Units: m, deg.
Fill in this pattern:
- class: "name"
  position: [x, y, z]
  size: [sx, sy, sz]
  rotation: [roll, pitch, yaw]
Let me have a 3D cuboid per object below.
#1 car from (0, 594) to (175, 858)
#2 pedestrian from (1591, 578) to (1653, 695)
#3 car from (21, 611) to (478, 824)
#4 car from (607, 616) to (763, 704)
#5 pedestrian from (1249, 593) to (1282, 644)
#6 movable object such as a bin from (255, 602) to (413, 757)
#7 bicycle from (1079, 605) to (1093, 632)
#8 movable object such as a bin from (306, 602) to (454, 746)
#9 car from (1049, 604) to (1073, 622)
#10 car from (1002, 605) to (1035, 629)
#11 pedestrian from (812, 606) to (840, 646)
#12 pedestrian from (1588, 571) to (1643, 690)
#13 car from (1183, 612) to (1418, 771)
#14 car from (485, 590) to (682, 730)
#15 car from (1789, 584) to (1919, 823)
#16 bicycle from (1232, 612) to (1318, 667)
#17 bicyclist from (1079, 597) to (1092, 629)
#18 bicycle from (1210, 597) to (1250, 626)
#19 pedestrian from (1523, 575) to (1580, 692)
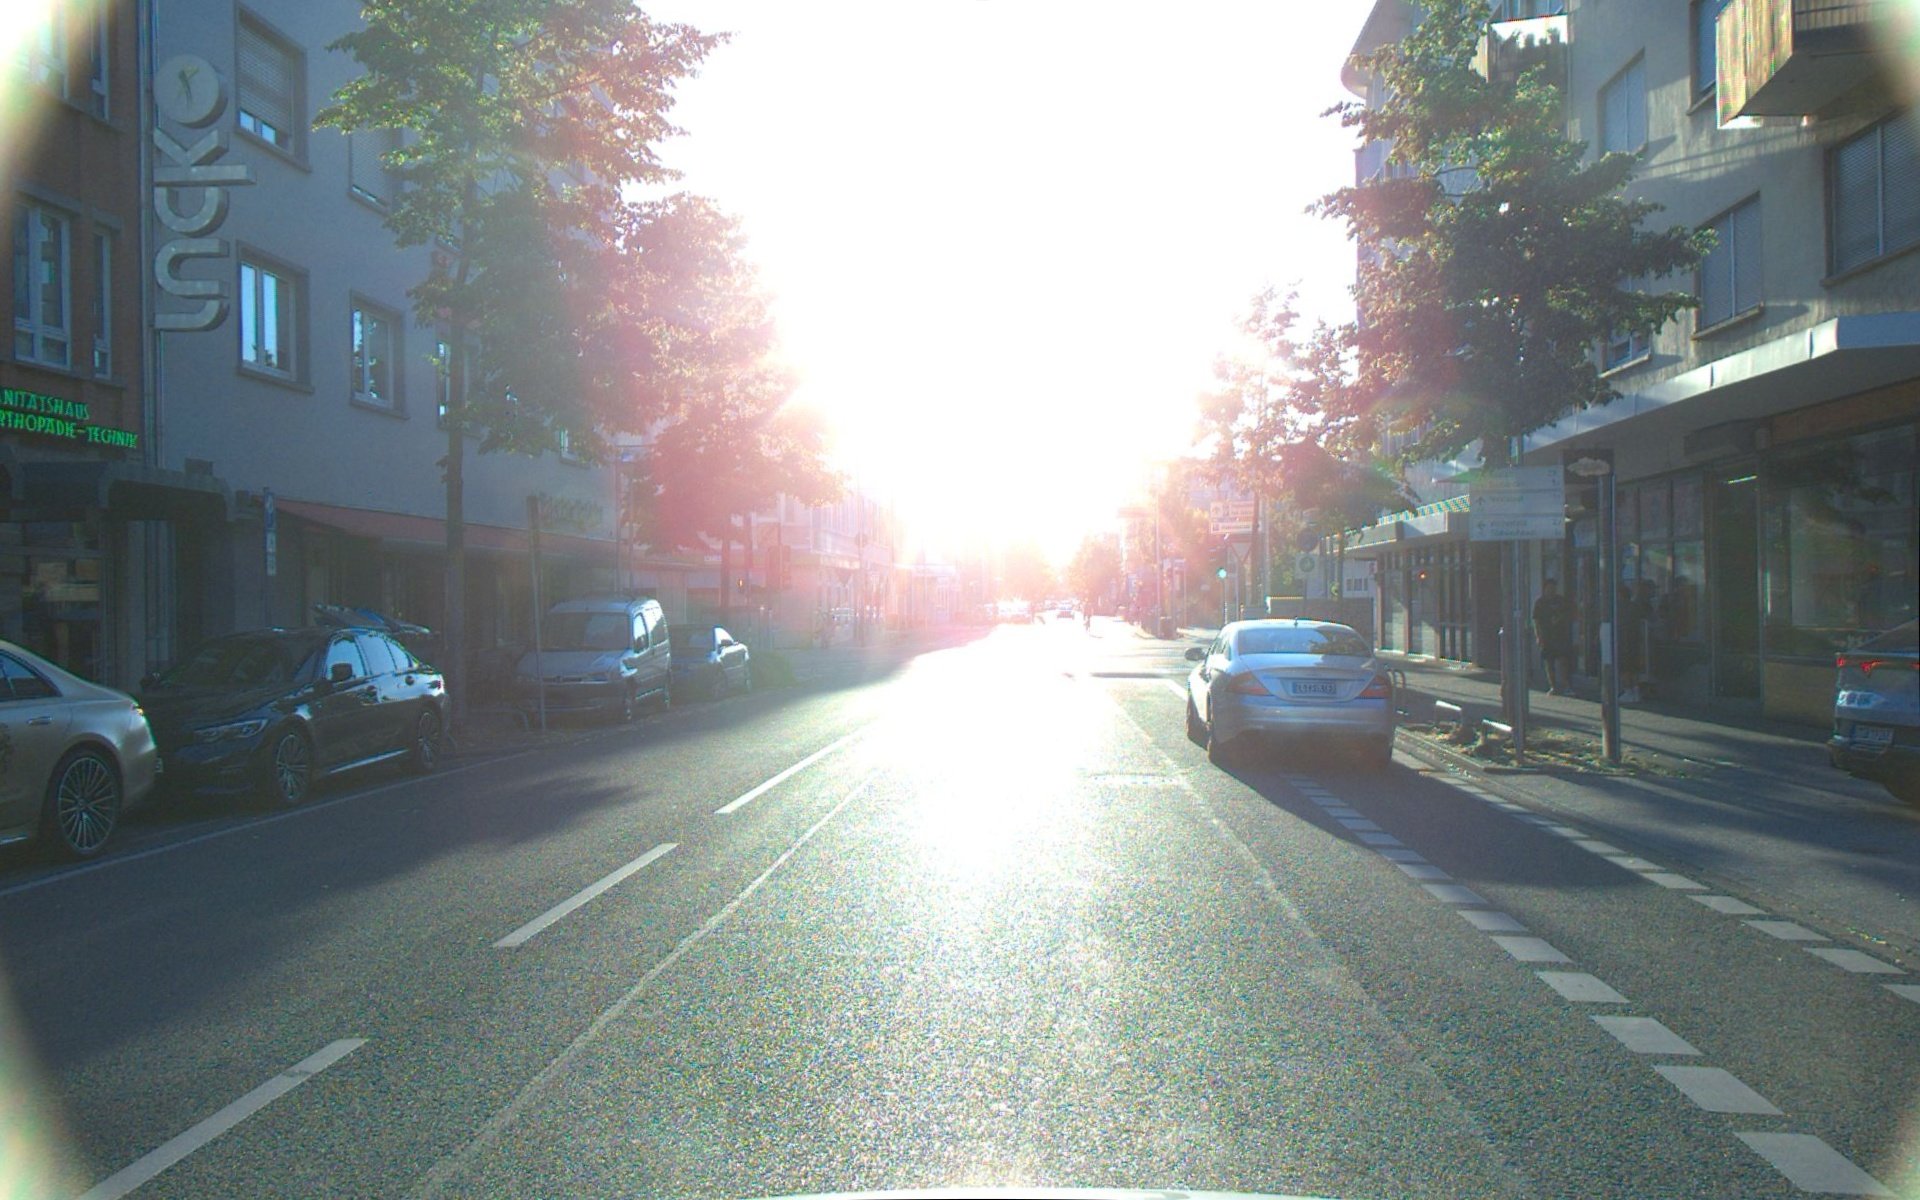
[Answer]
- class: "car"
  position: [-6.625, 0.765, 8.977]
  size: [1.951, 1.537, 5.116]
  rotation: [-2, 0, 4]
- class: "pedestrian"
  position: [9.798, 0.529, 24.491]
  size: [0.628, 1.689, 0.778]
  rotation: [1, 0, 4]
- class: "car"
  position: [-6.103, 0.911, 14.942]
  size: [1.875, 1.537, 4.641]
  rotation: [-2, 0, 3]
- class: "car"
  position: [-4.951, 1.045, 30.388]
  size: [1.875, 1.410, 4.384]
  rotation: [-2, 0, 3]
- class: "pedestrian"
  position: [10.782, 0.657, 58.373]
  size: [0.789, 1.756, 0.991]
  rotation: [-3, -2, 32]
- class: "movable object such as a bin"
  position: [-7.341, 0.902, 19.481]
  size: [1.253, 1.702, 1.369]
  rotation: [2, 0, 1]
- class: "bicycle"
  position: [6.840, 1.016, 89.841]
  size: [0.664, 1.426, 2.231]
  rotation: [-1, 0, 5]
- class: "movable object such as a bin"
  position: [-7.302, 0.908, 20.914]
  size: [1.255, 1.702, 1.441]
  rotation: [2, 0, 1]
- class: "car"
  position: [9.945, 1.239, 162.950]
  size: [2.255, 1.708, 5.535]
  rotation: [-1, 0, 4]
- class: "car"
  position: [4.401, 1.279, 124.008]
  size: [2.255, 1.708, 5.535]
  rotation: [-1, 0, 4]
- class: "pedestrian"
  position: [-5.413, 1.040, 66.721]
  size: [0.864, 1.575, 0.688]
  rotation: [-1, -1, -45]
- class: "pedestrian"
  position: [10.141, 0.465, 25.607]
  size: [0.570, 1.814, 0.526]
  rotation: [1, 0, -16]
- class: "car"
  position: [3.456, 0.863, 17.575]
  size: [1.763, 1.402, 4.553]
  rotation: [1, 0, 3]
- class: "car"
  position: [-5.420, 0.814, 24.350]
  size: [1.875, 1.818, 4.148]
  rotation: [-2, 0, 0]
- class: "car"
  position: [8.581, 0.652, 12.089]
  size: [4.086, 1.639, 1.856]
  rotation: [-2, -1, -3]
- class: "bicycle"
  position: [7.179, 0.906, 37.771]
  size: [1.872, 1.224, 0.470]
  rotation: [-1, 0, 5]
- class: "bicyclist"
  position: [6.820, 0.705, 89.694]
  size: [0.664, 1.737, 0.670]
  rotation: [-1, 0, 5]
- class: "bicycle"
  position: [15.174, 0.638, 92.985]
  size: [2.175, 1.549, 0.681]
  rotation: [-1, 0, 9]
- class: "pedestrian"
  position: [9.475, 0.534, 26.506]
  size: [0.693, 1.839, 0.650]
  rotation: [1, 0, 4]
